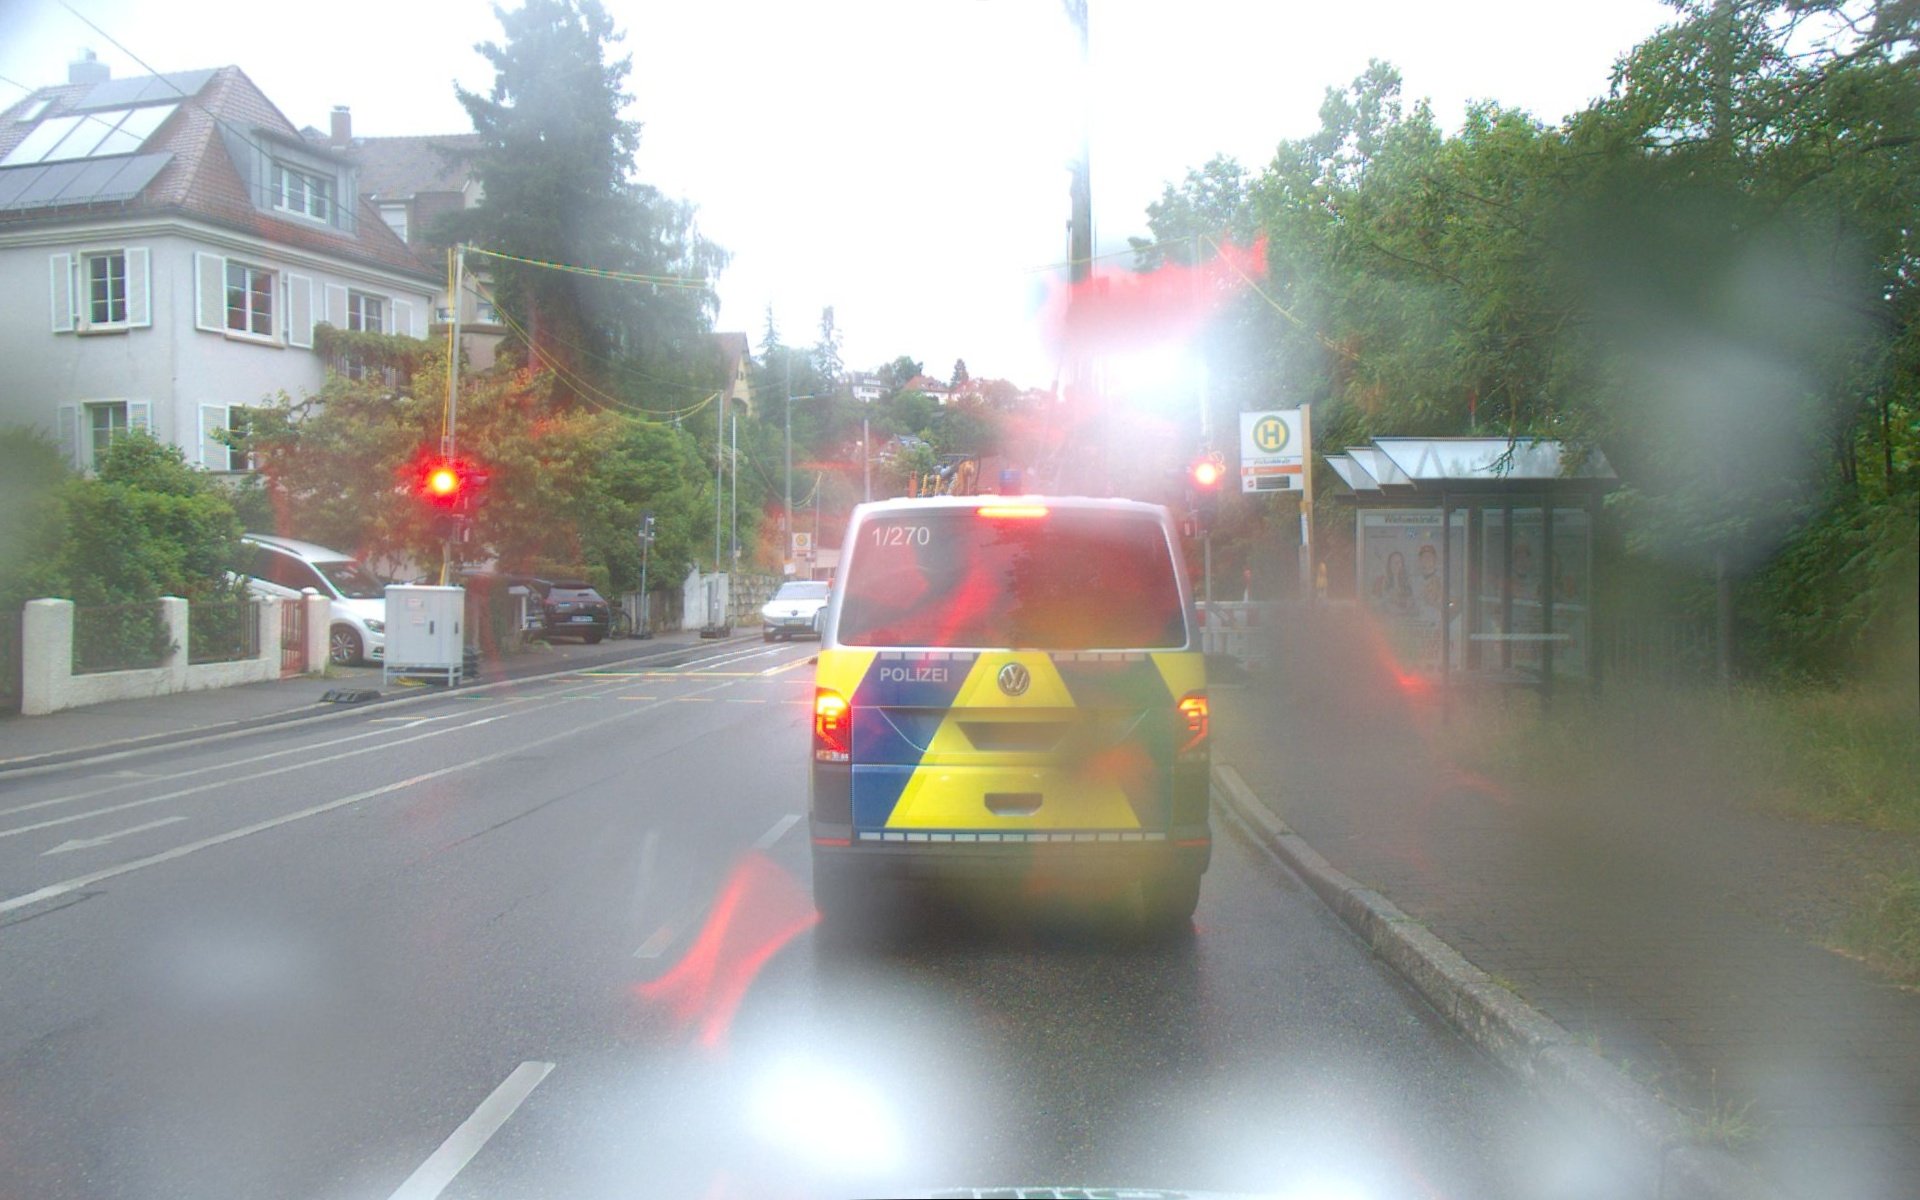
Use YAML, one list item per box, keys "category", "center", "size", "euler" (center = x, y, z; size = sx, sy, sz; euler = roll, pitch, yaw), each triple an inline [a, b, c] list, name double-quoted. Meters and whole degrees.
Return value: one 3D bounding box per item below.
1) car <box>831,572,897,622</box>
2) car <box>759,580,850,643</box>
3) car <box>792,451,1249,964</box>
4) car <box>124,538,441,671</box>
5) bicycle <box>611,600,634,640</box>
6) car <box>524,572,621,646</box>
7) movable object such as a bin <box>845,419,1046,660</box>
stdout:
- category: "car"
  center: [-3.294, -0.092, 57.596]
  size: [1.828, 1.650, 4.166]
  euler: [1, 0, 3]
- category: "car"
  center: [-4.112, 0.303, 44.443]
  size: [1.814, 1.554, 4.821]
  euler: [1, 0, 2]
- category: "car"
  center: [0.224, 0.433, 8.822]
  size: [1.855, 2.086, 3.999]
  euler: [1, 0, -1]
- category: "car"
  center: [-11.212, 0.052, 27.492]
  size: [4.532, 2.042, 1.902]
  euler: [1, 0, 11]
- category: "bicycle"
  center: [-8.057, 0.462, 39.456]
  size: [0.455, 0.913, 1.628]
  euler: [0, 0, -15]
- category: "car"
  center: [-8.914, 0.172, 37.830]
  size: [1.739, 1.512, 3.721]
  euler: [1, 2, -20]
- category: "movable object such as a bin"
  center: [-0.169, -1.098, 31.640]
  size: [2.770, 4.250, 4.384]
  euler: [1, 0, 14]
